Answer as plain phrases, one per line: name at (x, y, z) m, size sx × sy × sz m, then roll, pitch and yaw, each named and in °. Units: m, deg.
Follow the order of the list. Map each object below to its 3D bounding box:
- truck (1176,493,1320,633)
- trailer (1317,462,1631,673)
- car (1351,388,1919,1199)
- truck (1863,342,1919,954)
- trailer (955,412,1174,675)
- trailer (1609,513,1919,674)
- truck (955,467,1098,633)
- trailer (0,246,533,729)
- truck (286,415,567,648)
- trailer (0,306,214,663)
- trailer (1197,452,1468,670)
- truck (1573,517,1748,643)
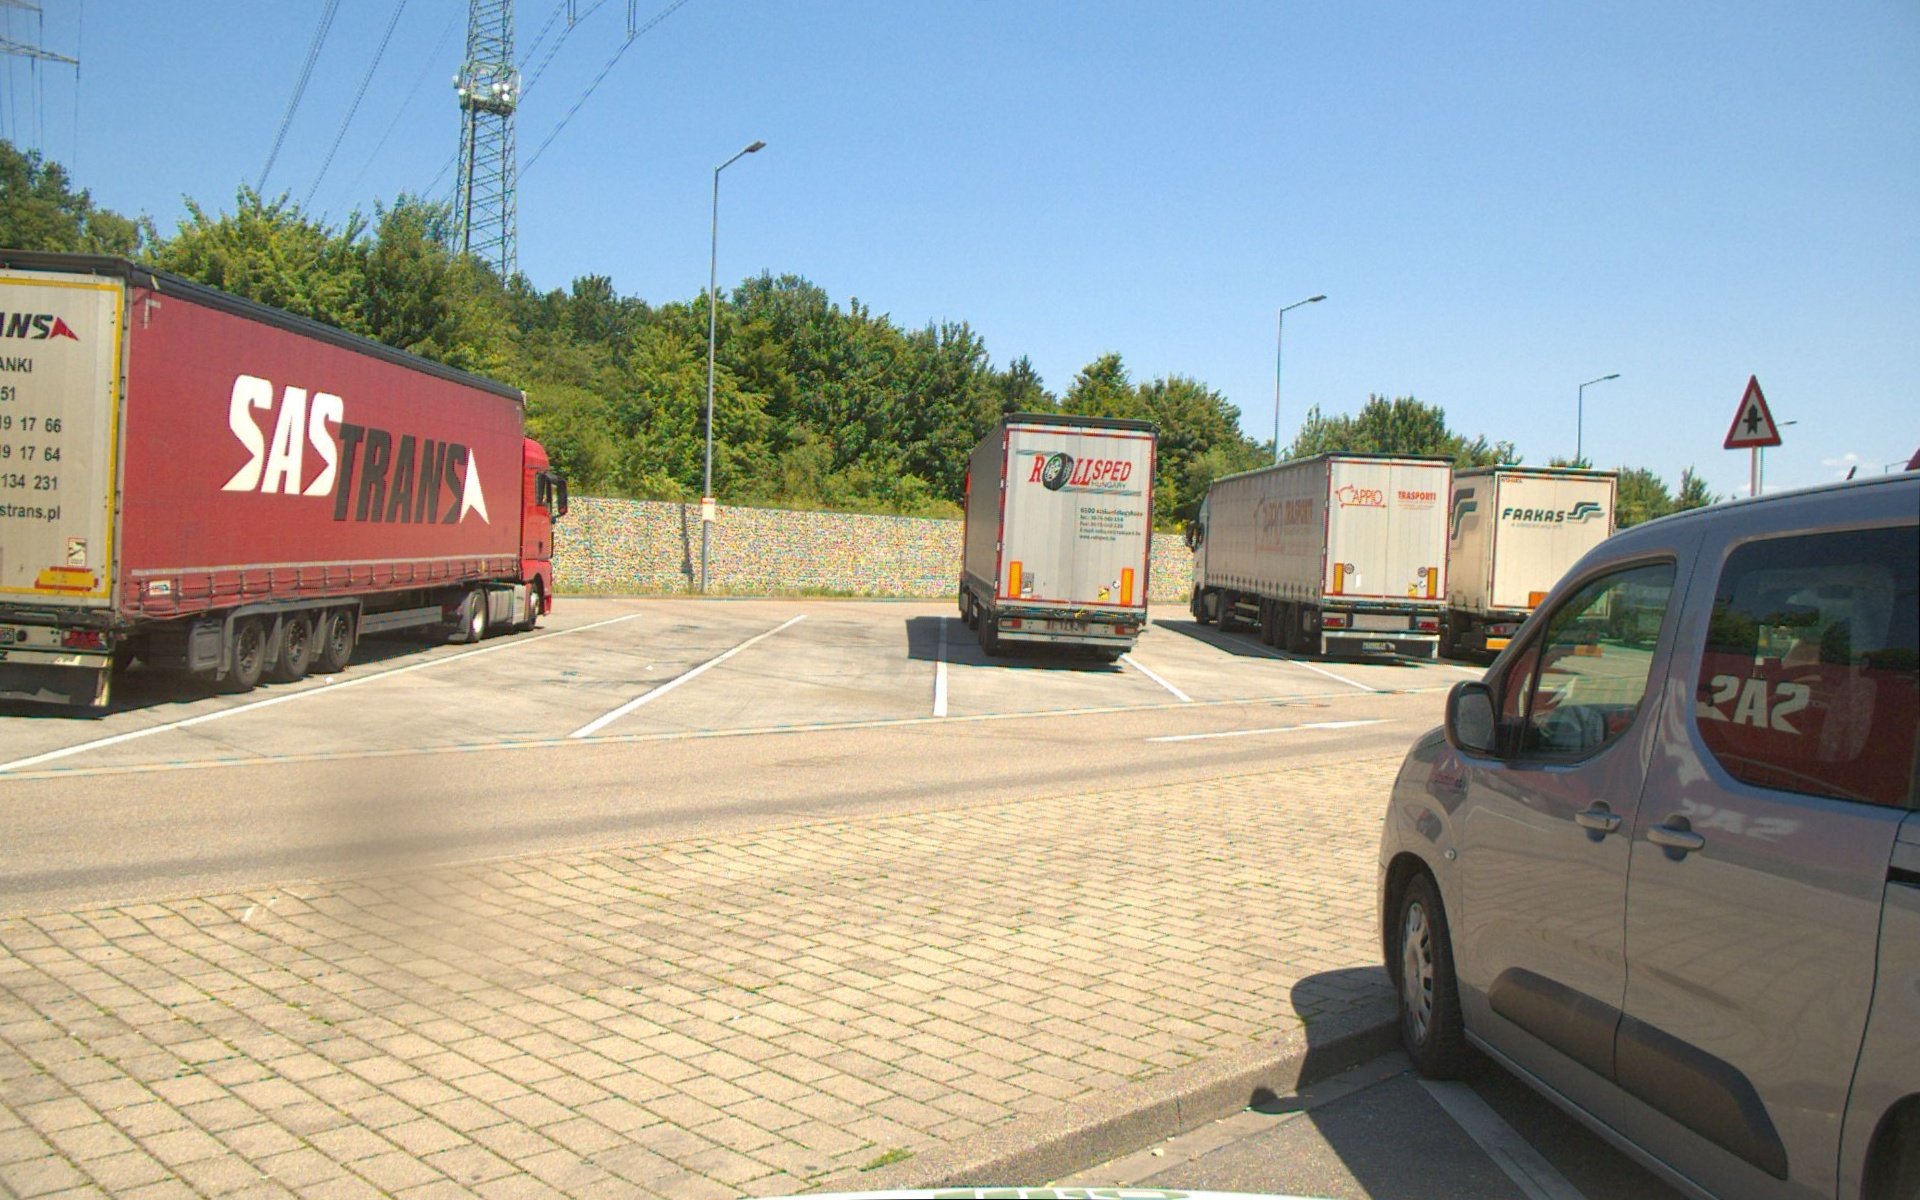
truck at (8.051, -1.096, 46.979) m, size 2.805 × 3.582 × 5.900 m, roll 3°, pitch 2°, yaw -1°
trailer at (11.732, -0.938, 39.984) m, size 2.754 × 4.058 × 14.395 m, roll 3°, pitch 2°, yaw -1°
car at (2.442, 0.604, 3.884) m, size 1.832 × 1.896 × 4.174 m, roll 3°, pitch 1°, yaw -2°
truck at (5.003, 0.201, 5.008) m, size 1.937 × 2.668 × 5.307 m, roll 1°, pitch 0°, yaw 4°
trailer at (1.658, -1.196, 33.670) m, size 3.070 × 4.058 × 14.393 m, roll 3°, pitch 2°, yaw -1°
trailer at (21.842, -0.393, 44.536) m, size 2.754 × 3.568 × 14.395 m, roll 3°, pitch 2°, yaw -1°
truck at (1.500, -1.243, 40.560) m, size 3.041 × 3.628 × 5.900 m, roll 3°, pitch 2°, yaw -1°
trailer at (-8.725, -1.292, 21.462) m, size 2.735 × 4.155 × 14.131 m, roll 3°, pitch 2°, yaw -1°
truck at (-8.791, -1.153, 28.033) m, size 2.793 × 3.385 × 5.900 m, roll 3°, pitch 2°, yaw -1°
trailer at (-12.551, -1.338, 17.739) m, size 2.739 × 4.155 × 14.131 m, roll 3°, pitch 2°, yaw -1°
trailer at (8.170, -1.032, 38.879) m, size 2.754 × 4.058 × 14.395 m, roll 3°, pitch 2°, yaw -1°
truck at (21.763, -0.699, 51.766) m, size 2.746 × 3.582 × 5.900 m, roll 3°, pitch 2°, yaw -1°
